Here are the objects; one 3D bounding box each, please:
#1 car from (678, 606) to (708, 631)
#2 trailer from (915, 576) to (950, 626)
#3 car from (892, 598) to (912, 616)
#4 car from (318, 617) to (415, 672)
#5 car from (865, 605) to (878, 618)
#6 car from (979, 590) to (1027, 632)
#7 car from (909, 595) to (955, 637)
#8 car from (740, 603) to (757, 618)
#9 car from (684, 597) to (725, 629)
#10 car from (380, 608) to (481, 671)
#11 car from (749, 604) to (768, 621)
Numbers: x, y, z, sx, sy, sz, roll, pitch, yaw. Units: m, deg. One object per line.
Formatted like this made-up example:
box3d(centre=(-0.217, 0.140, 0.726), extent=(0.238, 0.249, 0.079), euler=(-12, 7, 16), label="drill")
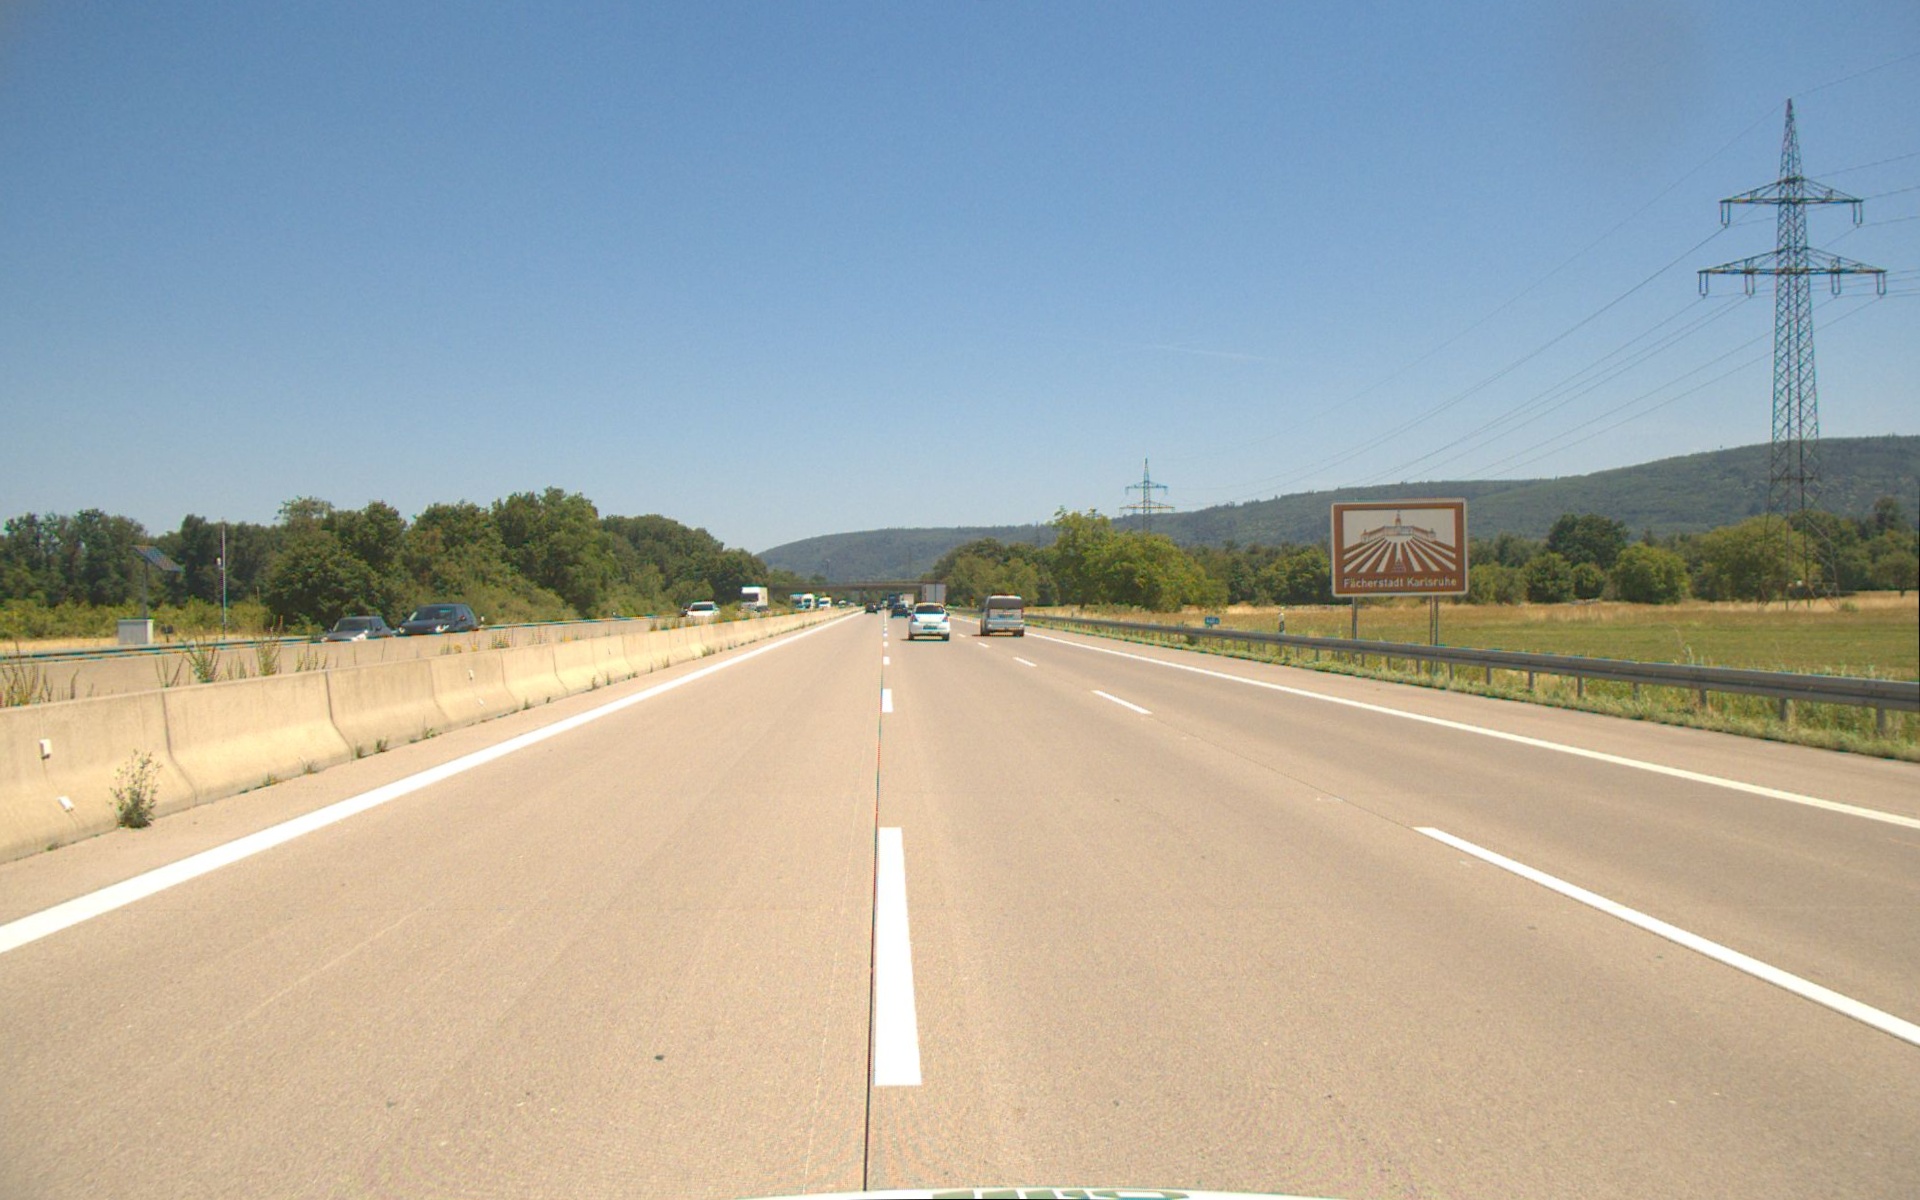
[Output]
box3d(centre=(-20.972, 1.457, 130.263), extent=(1.955, 1.870, 4.811), euler=(1, 0, -5), label="car")
box3d(centre=(-3.467, 0.079, 204.752), extent=(3.647, 5.913, 12.151), euler=(1, 0, -4), label="trailer")
box3d(centre=(-6.187, 0.726, 176.846), extent=(1.954, 1.881, 3.997), euler=(2, 0, -4), label="car")
box3d(centre=(-20.946, 1.549, 58.512), extent=(1.953, 1.814, 4.000), euler=(1, 0, 0), label="car")
box3d(centre=(-12.785, 1.704, 239.062), extent=(1.890, 1.825, 3.997), euler=(1, 0, -3), label="car")
box3d(centre=(2.038, 0.507, 79.067), extent=(1.954, 1.881, 3.997), euler=(1, 0, -3), label="car")
box3d(centre=(-1.217, 0.655, 69.225), extent=(1.783, 1.691, 3.997), euler=(0, 0, -3), label="car")
box3d(centre=(-28.844, 1.406, 225.873), extent=(1.954, 1.881, 3.997), euler=(2, 0, -4), label="car")
box3d(centre=(-15.261, 0.766, 98.930), extent=(1.867, 1.892, 3.999), euler=(1, 0, -1), label="car")
box3d(centre=(-17.458, 1.261, 54.760), extent=(1.953, 1.948, 4.401), euler=(1, 0, -1), label="car")
box3d(centre=(-24.030, 1.505, 197.203), extent=(1.954, 1.881, 3.997), euler=(2, 0, -4), label="car")
